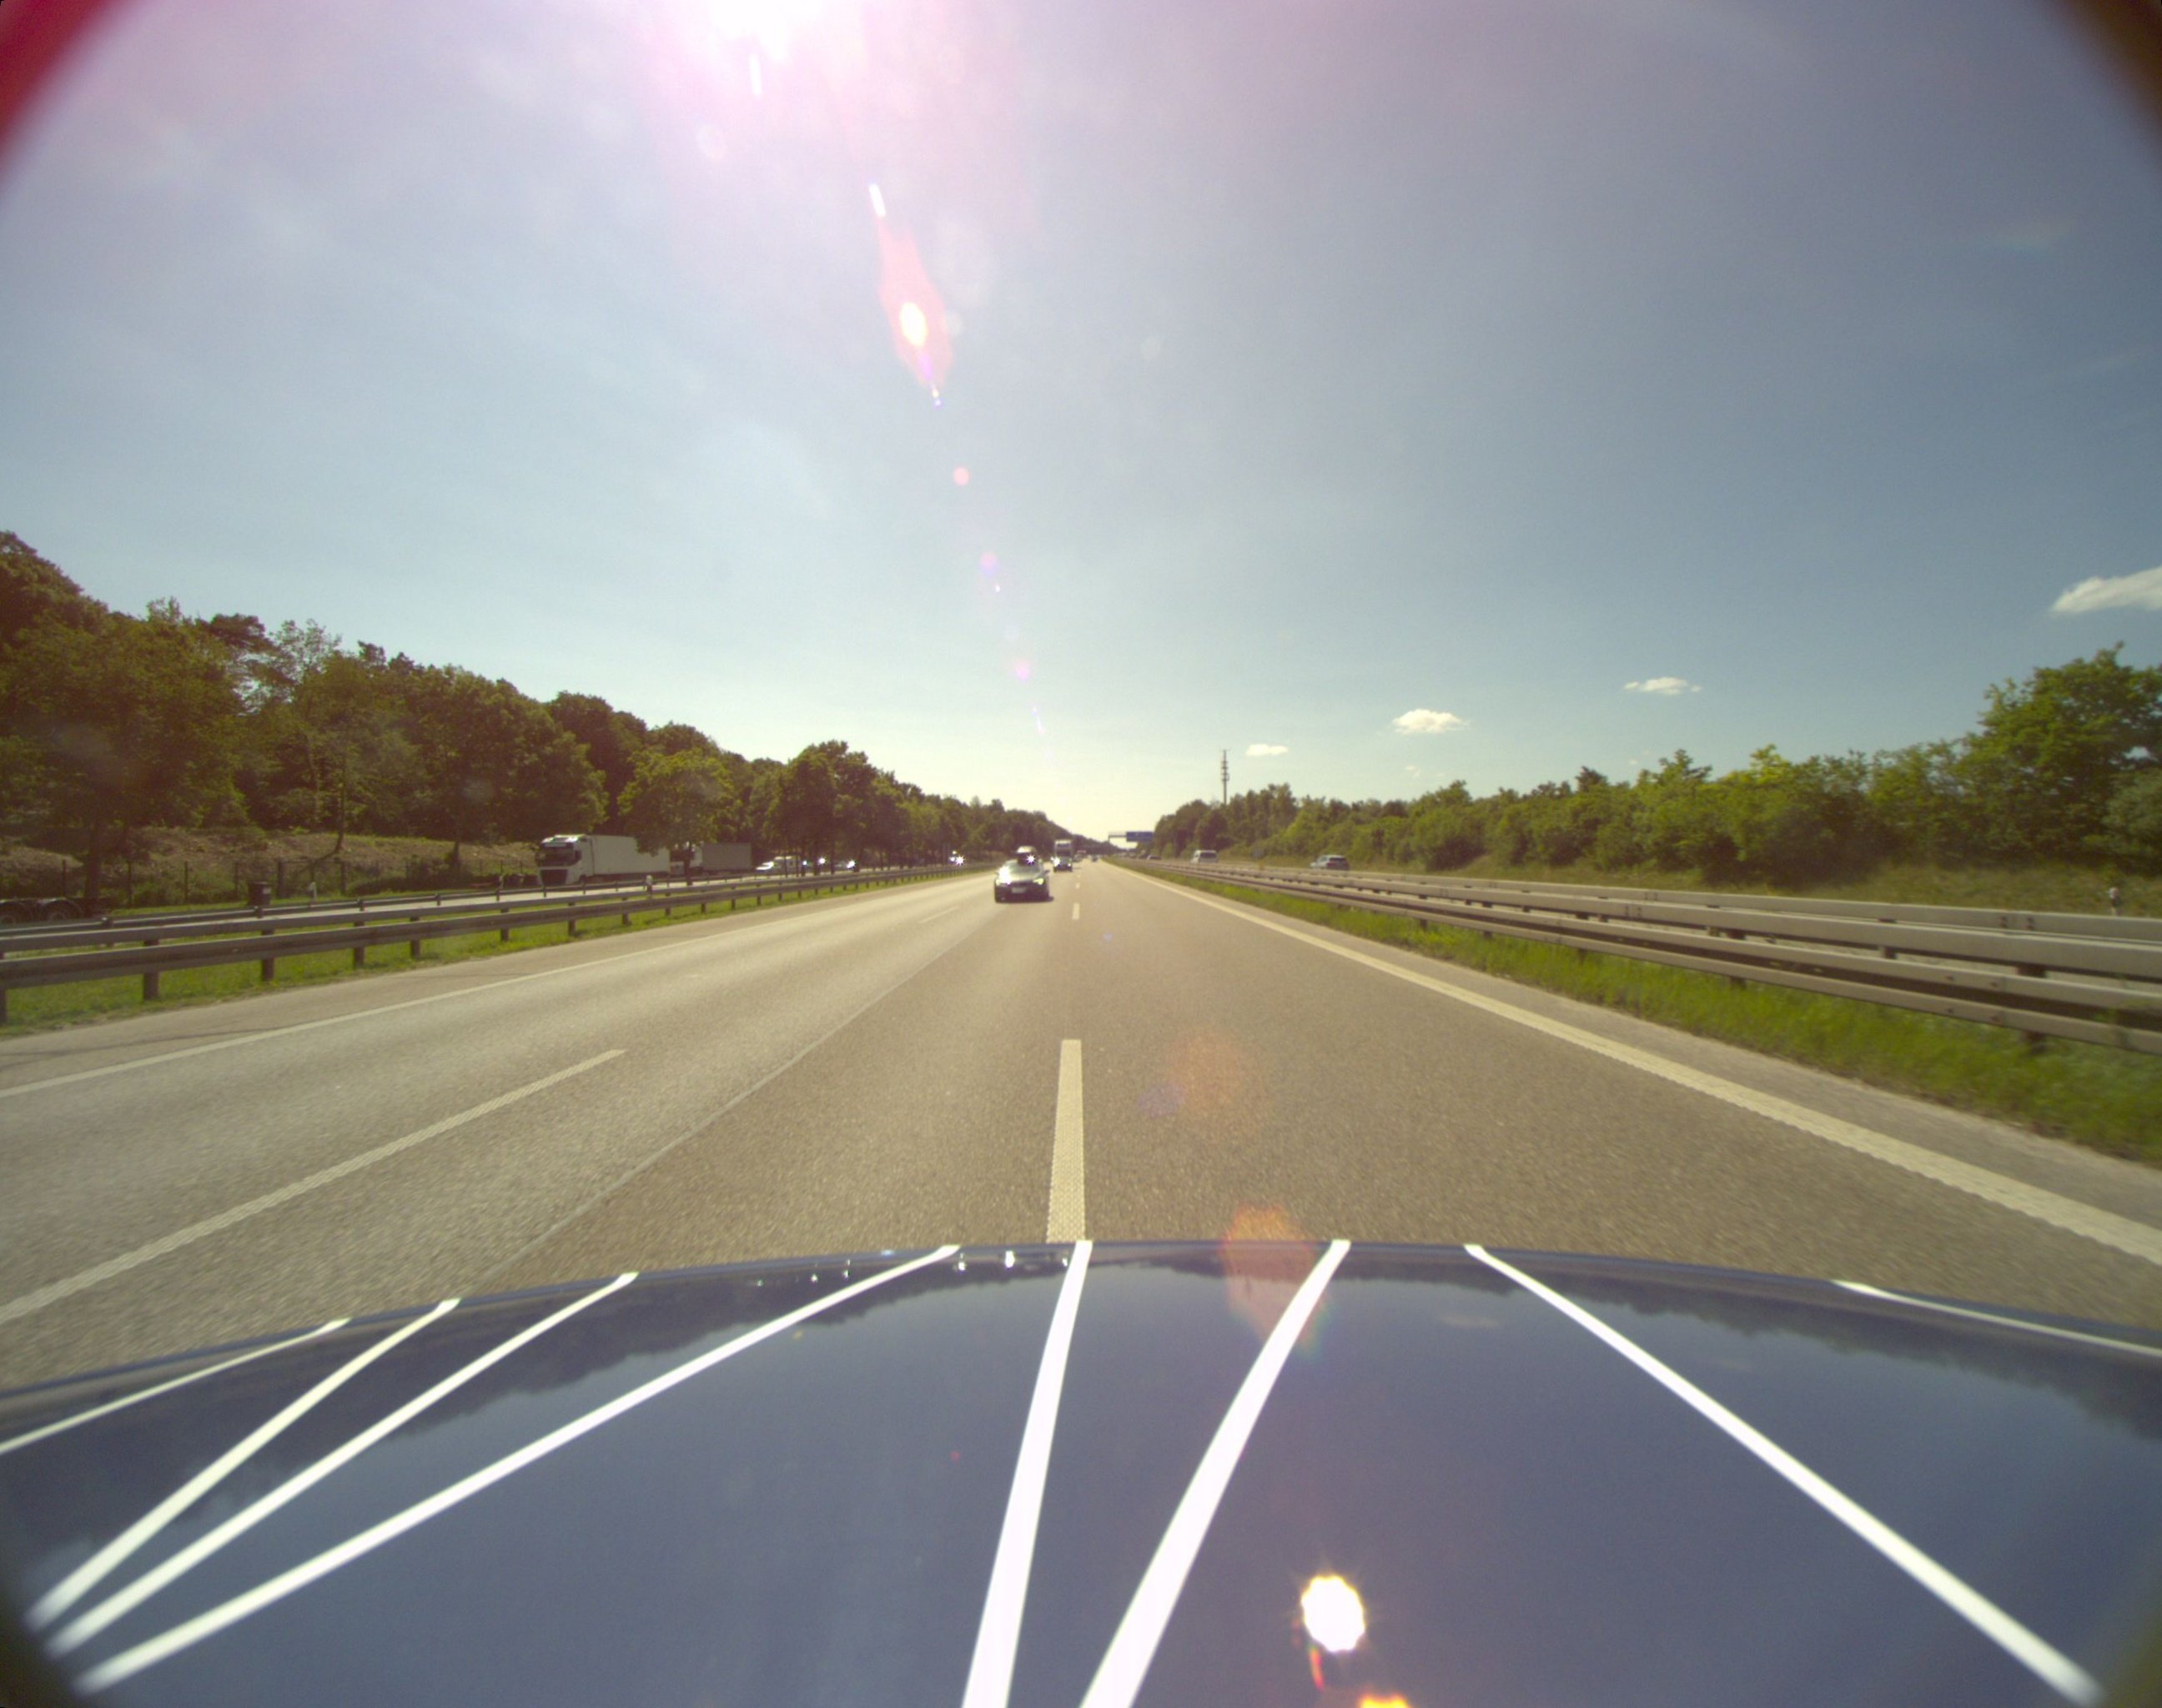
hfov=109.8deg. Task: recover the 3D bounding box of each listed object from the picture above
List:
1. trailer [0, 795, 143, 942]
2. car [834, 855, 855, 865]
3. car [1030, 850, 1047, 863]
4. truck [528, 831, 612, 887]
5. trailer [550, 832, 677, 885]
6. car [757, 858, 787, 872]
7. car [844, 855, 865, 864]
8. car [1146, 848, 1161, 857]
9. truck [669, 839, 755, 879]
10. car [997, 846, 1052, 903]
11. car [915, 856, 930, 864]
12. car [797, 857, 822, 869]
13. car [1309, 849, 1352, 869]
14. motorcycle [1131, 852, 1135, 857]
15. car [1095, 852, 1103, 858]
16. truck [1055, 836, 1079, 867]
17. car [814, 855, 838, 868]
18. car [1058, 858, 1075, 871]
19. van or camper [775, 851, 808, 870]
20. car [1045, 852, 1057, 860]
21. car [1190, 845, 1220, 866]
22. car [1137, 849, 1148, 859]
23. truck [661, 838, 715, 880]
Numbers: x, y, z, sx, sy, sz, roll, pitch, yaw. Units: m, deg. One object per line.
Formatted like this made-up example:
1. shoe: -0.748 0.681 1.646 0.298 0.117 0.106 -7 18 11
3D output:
1. trailer: -29.297 0.407 17.238 2.581 3.892 12.734 -1 0 -12
2. car: -39.446 0.960 126.737 1.659 1.666 4.653 -1 0 5
3. car: -5.413 0.364 97.107 1.847 1.559 4.036 -2 0 2
4. truck: -36.554 0.326 54.577 2.817 3.774 5.142 -1 1 -6
5. trailer: -37.336 0.316 61.679 2.866 3.774 14.180 -1 0 -6
6. car: -39.855 1.387 97.990 1.659 1.588 4.556 -1 0 5
7. car: -39.359 0.928 132.201 1.997 1.565 4.003 -1 0 9
8. car: 11.169 -0.260 117.650 1.998 1.431 4.203 -1 0 1
9. truck: -39.458 0.443 82.056 3.005 3.908 14.454 -1 0 -4
10. car: -1.968 0.683 27.616 1.669 1.865 4.827 0 0 -1
11. car: -35.562 1.348 170.652 1.997 1.641 4.321 0 0 10
12. car: -39.265 1.263 110.041 1.659 1.632 4.498 -1 0 5
13. car: 18.998 0.374 58.029 1.792 1.431 4.520 -1 0 1
14. motorcycle: 11.744 0.162 171.601 0.666 1.070 1.881 1 1 1
15. car: 4.024 0.138 168.652 1.591 1.291 3.383 0 0 2
16. truck: -1.671 -0.340 93.504 2.676 3.660 6.484 -1 0 2
17. car: -39.133 1.174 116.840 1.659 1.866 4.801 -1 0 5
18. car: -1.363 0.980 72.351 1.537 1.265 2.770 -1 0 2
19. van or camper: -39.673 0.881 104.327 2.209 2.516 5.875 -1 0 1
20. car: -6.352 0.483 162.142 1.924 1.659 4.688 -2 0 4
21. car: 11.636 0.138 71.702 1.925 1.862 5.516 0 1 -1
22. car: 14.303 -0.111 176.772 1.999 2.097 4.301 -7 0 0
23. truck: -39.028 0.467 75.542 2.979 3.908 4.831 -1 1 -4
